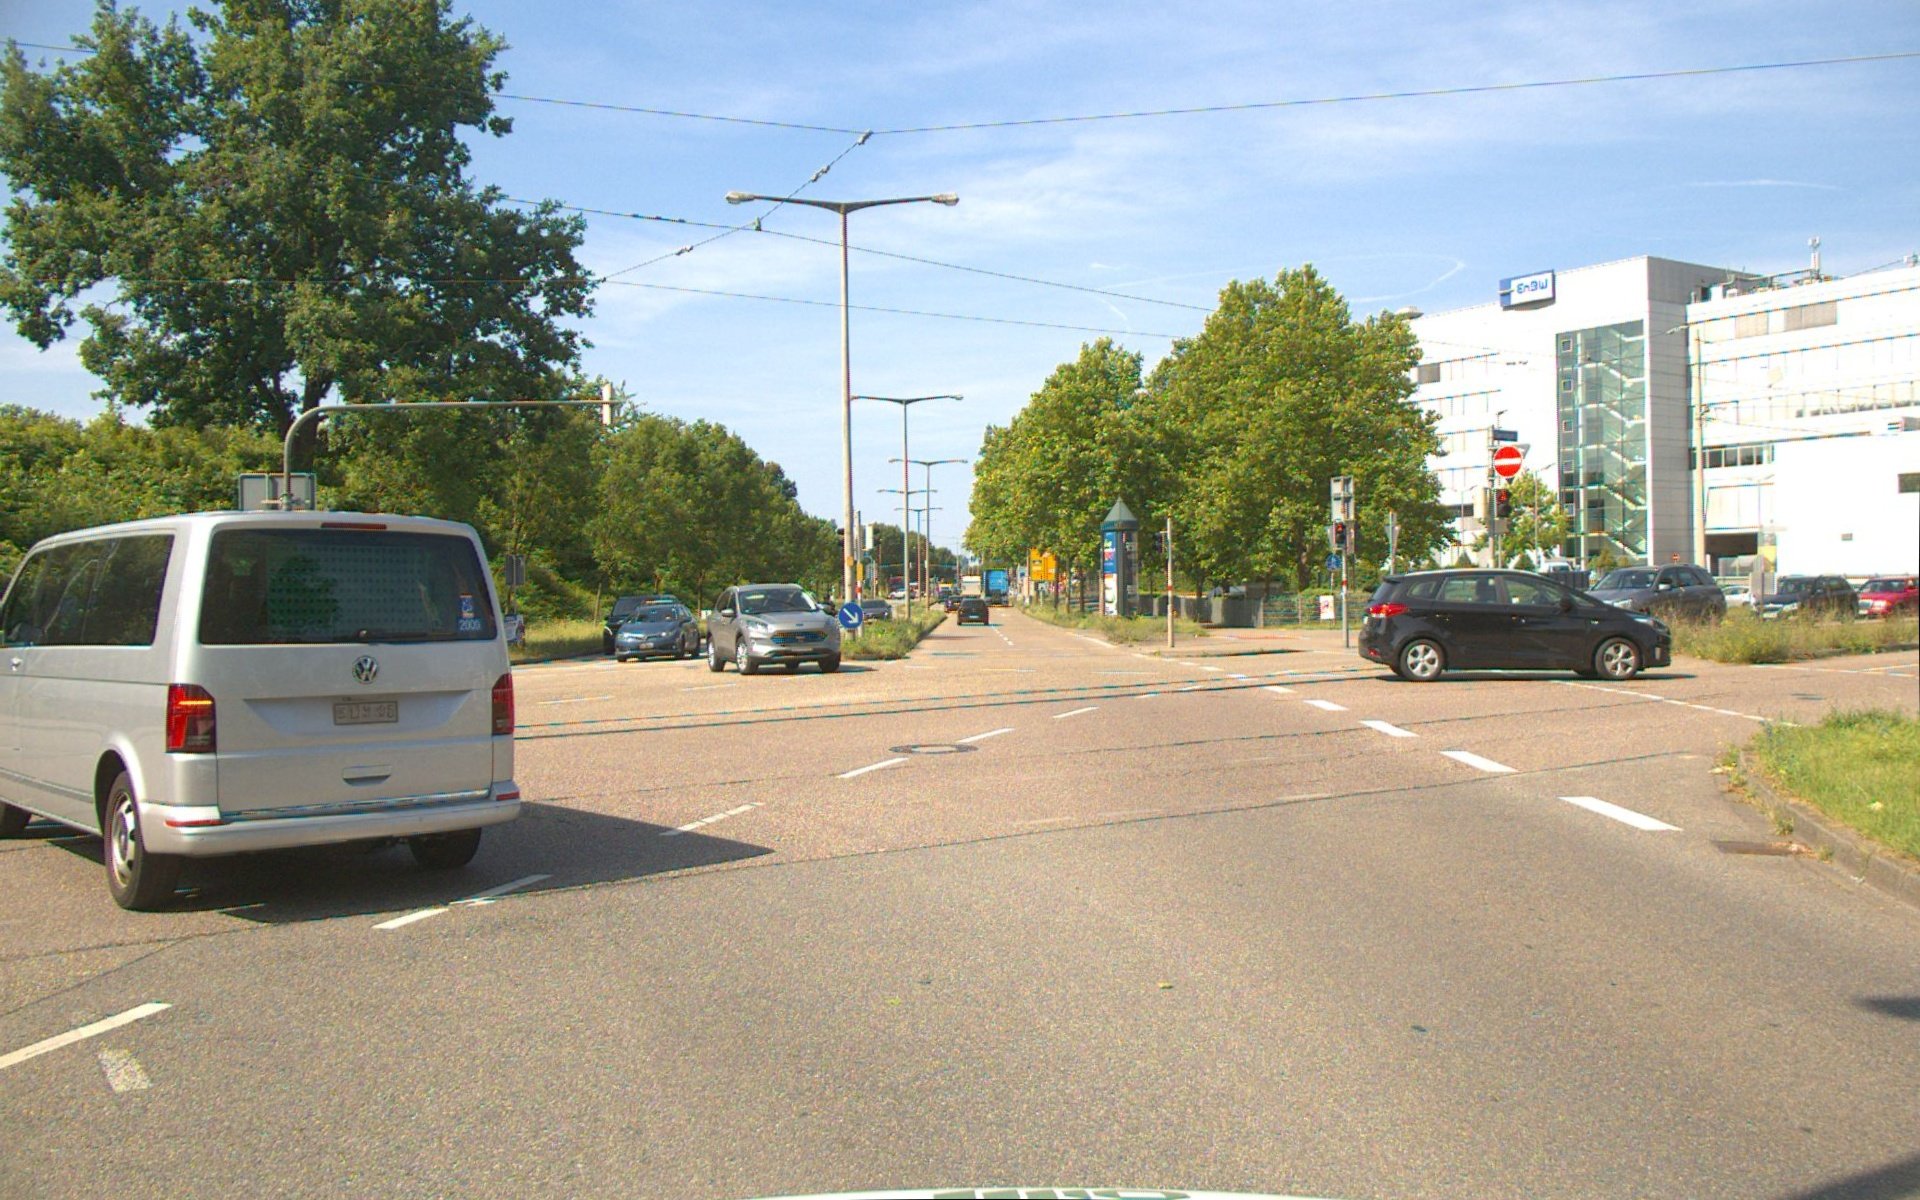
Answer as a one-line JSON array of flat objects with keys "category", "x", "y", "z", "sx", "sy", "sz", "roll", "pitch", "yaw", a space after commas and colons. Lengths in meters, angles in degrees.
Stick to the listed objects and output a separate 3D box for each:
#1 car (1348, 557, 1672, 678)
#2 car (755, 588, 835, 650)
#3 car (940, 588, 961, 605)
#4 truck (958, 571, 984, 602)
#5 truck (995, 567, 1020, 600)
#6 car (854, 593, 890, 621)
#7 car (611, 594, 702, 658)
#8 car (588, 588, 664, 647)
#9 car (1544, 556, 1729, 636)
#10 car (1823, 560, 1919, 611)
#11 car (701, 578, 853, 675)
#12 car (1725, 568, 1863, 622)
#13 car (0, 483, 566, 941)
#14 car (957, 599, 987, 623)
[{"category": "car", "x": 8.000, "y": 0.251, "z": 24.413, "sx": 4.270, "sy": 1.633, "sz": 1.816, "roll": -1, "pitch": 0, "yaw": 9}, {"category": "car", "x": -4.836, "y": 0.517, "z": 49.032, "sx": 1.870, "sy": 1.718, "sz": 4.626, "roll": -1, "pitch": 0, "yaw": 0}, {"category": "car", "x": -0.826, "y": -0.311, "z": 140.879, "sx": 1.713, "sy": 1.368, "sz": 4.378, "roll": -1, "pitch": 0, "yaw": 0}, {"category": "truck", "x": 1.383, "y": -1.623, "z": 201.711, "sx": 2.782, "sy": 3.640, "sz": 8.723, "roll": -1, "pitch": 0, "yaw": 3}, {"category": "truck", "x": 6.840, "y": -2.367, "z": 237.526, "sx": 3.124, "sy": 4.431, "sz": 13.152, "roll": -1, "pitch": 0, "yaw": 3}, {"category": "car", "x": -4.728, "y": 0.365, "z": 89.379, "sx": 1.679, "sy": 1.402, "sz": 4.472, "roll": -3, "pitch": 0, "yaw": 0}, {"category": "car", "x": -8.072, "y": 0.657, "z": 44.297, "sx": 1.812, "sy": 1.588, "sz": 3.998, "roll": -1, "pitch": 0, "yaw": -2}, {"category": "car", "x": -11.051, "y": 0.539, "z": 54.999, "sx": 1.812, "sy": 1.846, "sz": 3.998, "roll": -1, "pitch": 0, "yaw": -2}, {"category": "car", "x": 15.697, "y": -0.122, "z": 38.294, "sx": 4.577, "sy": 1.718, "sz": 1.891, "roll": -2, "pitch": 0, "yaw": -37}, {"category": "car", "x": 28.934, "y": -0.471, "z": 51.579, "sx": 4.577, "sy": 1.469, "sz": 1.758, "roll": -2, "pitch": 0, "yaw": -37}, {"category": "car", "x": -3.608, "y": 0.471, "z": 31.842, "sx": 1.960, "sy": 1.679, "sz": 4.631, "roll": -2, "pitch": 0, "yaw": -18}, {"category": "car", "x": 24.397, "y": -0.161, "z": 48.328, "sx": 4.577, "sy": 1.469, "sz": 1.758, "roll": -2, "pitch": 0, "yaw": -37}, {"category": "car", "x": -4.333, "y": 0.491, "z": 9.784, "sx": 1.930, "sy": 2.006, "sz": 4.949, "roll": -1, "pitch": 0, "yaw": -40}, {"category": "car", "x": 0.654, "y": 0.583, "z": 90.659, "sx": 1.609, "sy": 1.258, "sz": 3.253, "roll": -1, "pitch": 0, "yaw": 0}]
